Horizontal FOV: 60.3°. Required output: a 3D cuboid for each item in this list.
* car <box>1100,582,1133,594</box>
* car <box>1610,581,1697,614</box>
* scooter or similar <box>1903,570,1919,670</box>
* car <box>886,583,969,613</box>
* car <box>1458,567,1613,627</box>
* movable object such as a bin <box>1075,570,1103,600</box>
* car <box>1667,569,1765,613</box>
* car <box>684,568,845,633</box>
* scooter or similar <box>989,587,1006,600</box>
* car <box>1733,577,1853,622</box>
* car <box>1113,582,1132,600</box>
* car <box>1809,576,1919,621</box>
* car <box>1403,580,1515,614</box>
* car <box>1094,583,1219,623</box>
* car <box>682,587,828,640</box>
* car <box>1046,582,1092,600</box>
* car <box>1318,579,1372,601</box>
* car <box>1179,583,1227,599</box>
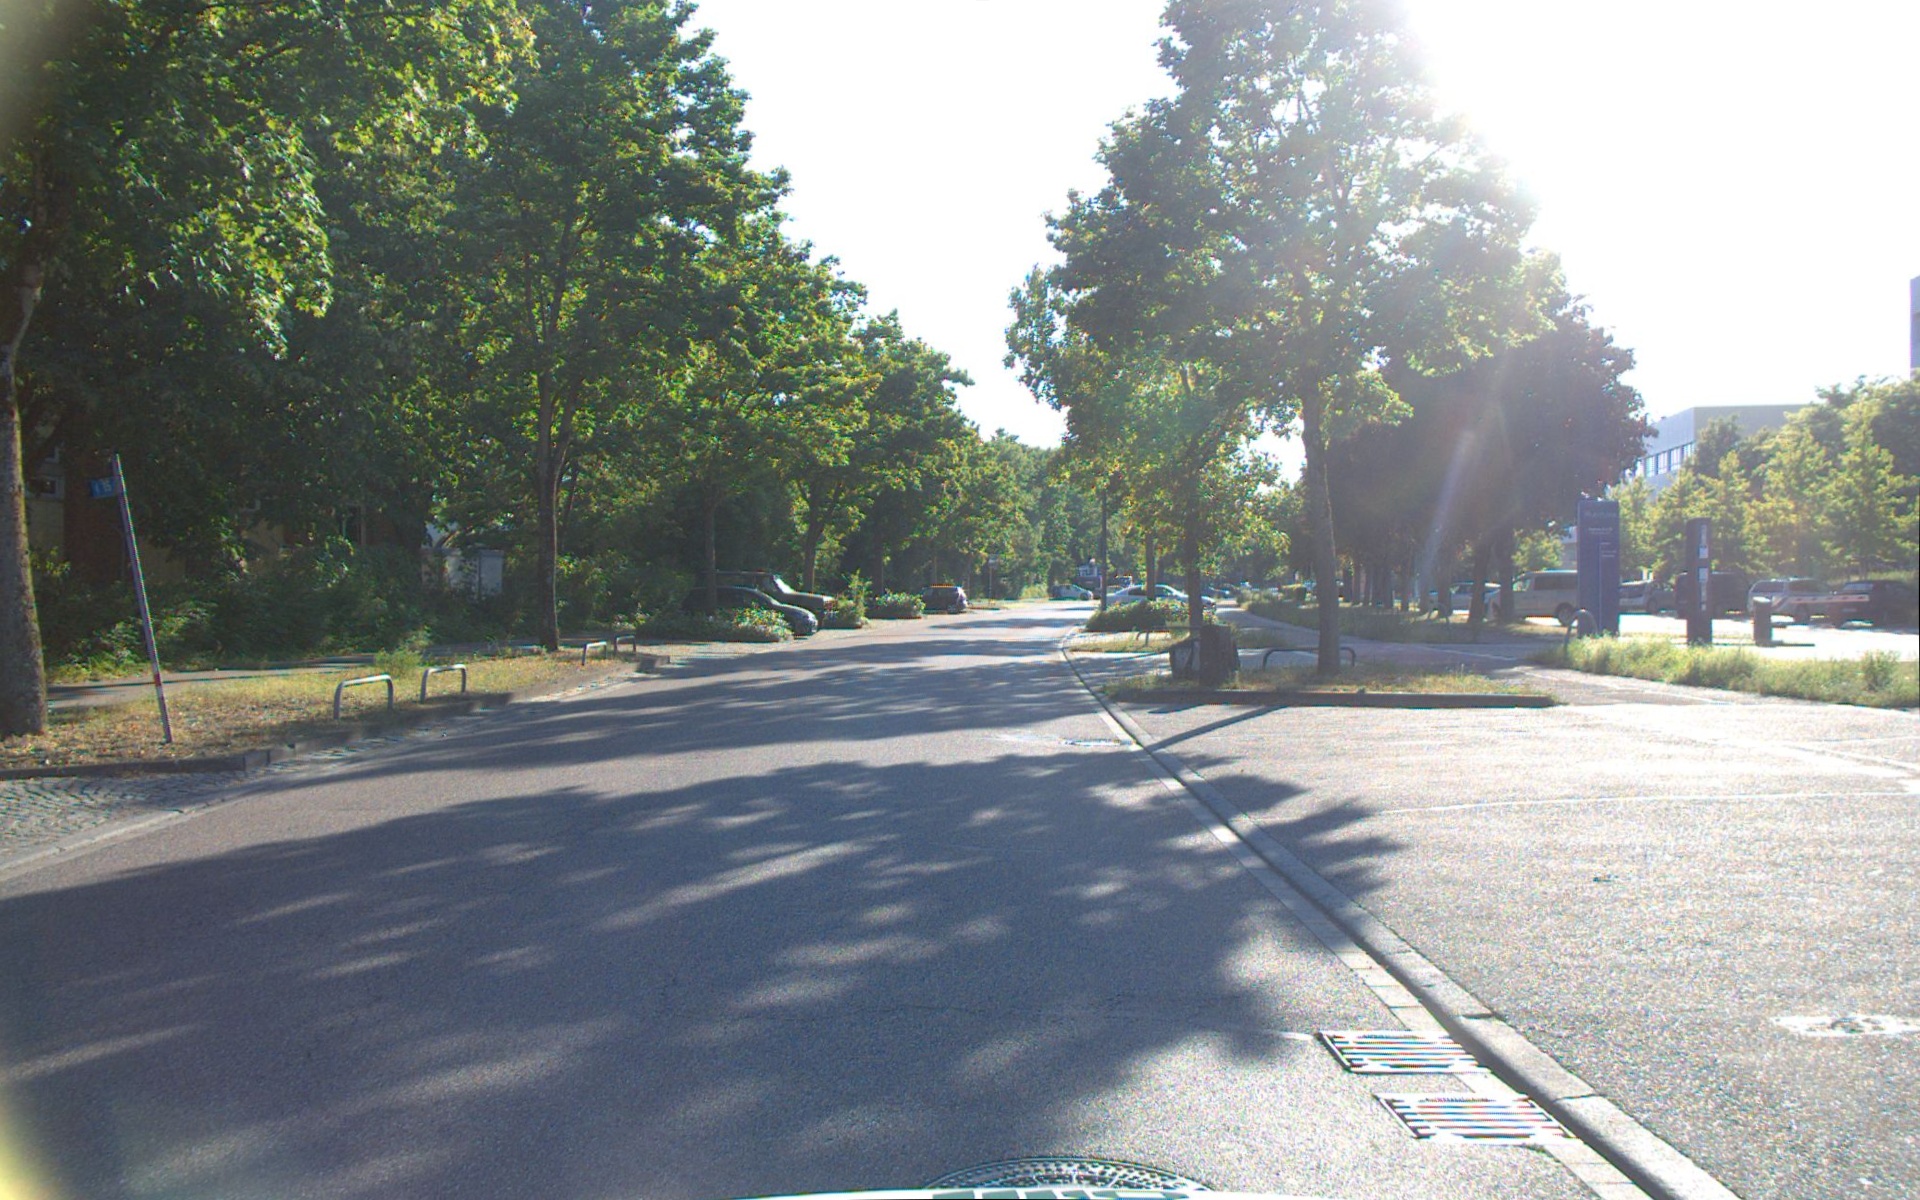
[{"bbox_3d":[20.366,-1.562,215.560,4.267,1.505,2.001,2,1,4],"label":"car"},{"bbox_3d":[33.468,-0.138,79.808,4.249,1.554,1.748,-1,1,-32],"label":"car"},{"bbox_3d":[12.632,0.258,21.033,0.509,1.294,1.388,-1,0,2],"label":"scooter or similar"},{"bbox_3d":[-1.752,-0.101,90.896,4.266,1.505,2.002,2,1,7],"label":"car"},{"bbox_3d":[19.981,-0.147,57.656,1.978,1.967,4.892,-1,1,-36],"label":"car"},{"bbox_3d":[13.730,-1.606,175.821,2.778,3.122,4.930,2,1,6],"label":"movable object such as a bin"},{"bbox_3d":[31.519,-0.391,68.911,4.443,1.780,1.746,-1,1,-35],"label":"car"},{"bbox_3d":[-6.334,0.012,54.109,4.900,2.055,2.175,-1,0,3],"label":"car"},{"bbox_3d":[3.358,-0.561,149.611,1.570,1.165,0.569,-1,0,-40],"label":"scooter or similar"},{"bbox_3d":[29.704,-0.024,58.964,4.253,1.555,1.789,-1,0,-30],"label":"car"},{"bbox_3d":[22.043,-1.217,224.737,2.464,2.427,4.375,0,0,4],"label":"car"},{"bbox_3d":[28.701,-0.057,52.150,3.952,1.378,1.786,-1,0,-34],"label":"car"},{"bbox_3d":[24.100,-0.151,80.005,1.984,1.601,4.876,-1,0,-43],"label":"car"},{"bbox_3d":[8.131,0.109,68.918,5.066,1.601,2.159,-1,0,5],"label":"car"},{"bbox_3d":[-6.166,0.392,50.049,4.123,1.557,1.706,-1,0,3],"label":"car"},{"bbox_3d":[10.780,-0.893,163.445,4.265,1.574,2.002,2,1,11],"label":"car"},{"bbox_3d":[33.394,-0.854,143.503,4.335,1.735,2.061,2,1,9],"label":"car"},{"bbox_3d":[25.041,-0.897,170.589,4.738,1.505,2.002,2,1,11],"label":"car"}]
